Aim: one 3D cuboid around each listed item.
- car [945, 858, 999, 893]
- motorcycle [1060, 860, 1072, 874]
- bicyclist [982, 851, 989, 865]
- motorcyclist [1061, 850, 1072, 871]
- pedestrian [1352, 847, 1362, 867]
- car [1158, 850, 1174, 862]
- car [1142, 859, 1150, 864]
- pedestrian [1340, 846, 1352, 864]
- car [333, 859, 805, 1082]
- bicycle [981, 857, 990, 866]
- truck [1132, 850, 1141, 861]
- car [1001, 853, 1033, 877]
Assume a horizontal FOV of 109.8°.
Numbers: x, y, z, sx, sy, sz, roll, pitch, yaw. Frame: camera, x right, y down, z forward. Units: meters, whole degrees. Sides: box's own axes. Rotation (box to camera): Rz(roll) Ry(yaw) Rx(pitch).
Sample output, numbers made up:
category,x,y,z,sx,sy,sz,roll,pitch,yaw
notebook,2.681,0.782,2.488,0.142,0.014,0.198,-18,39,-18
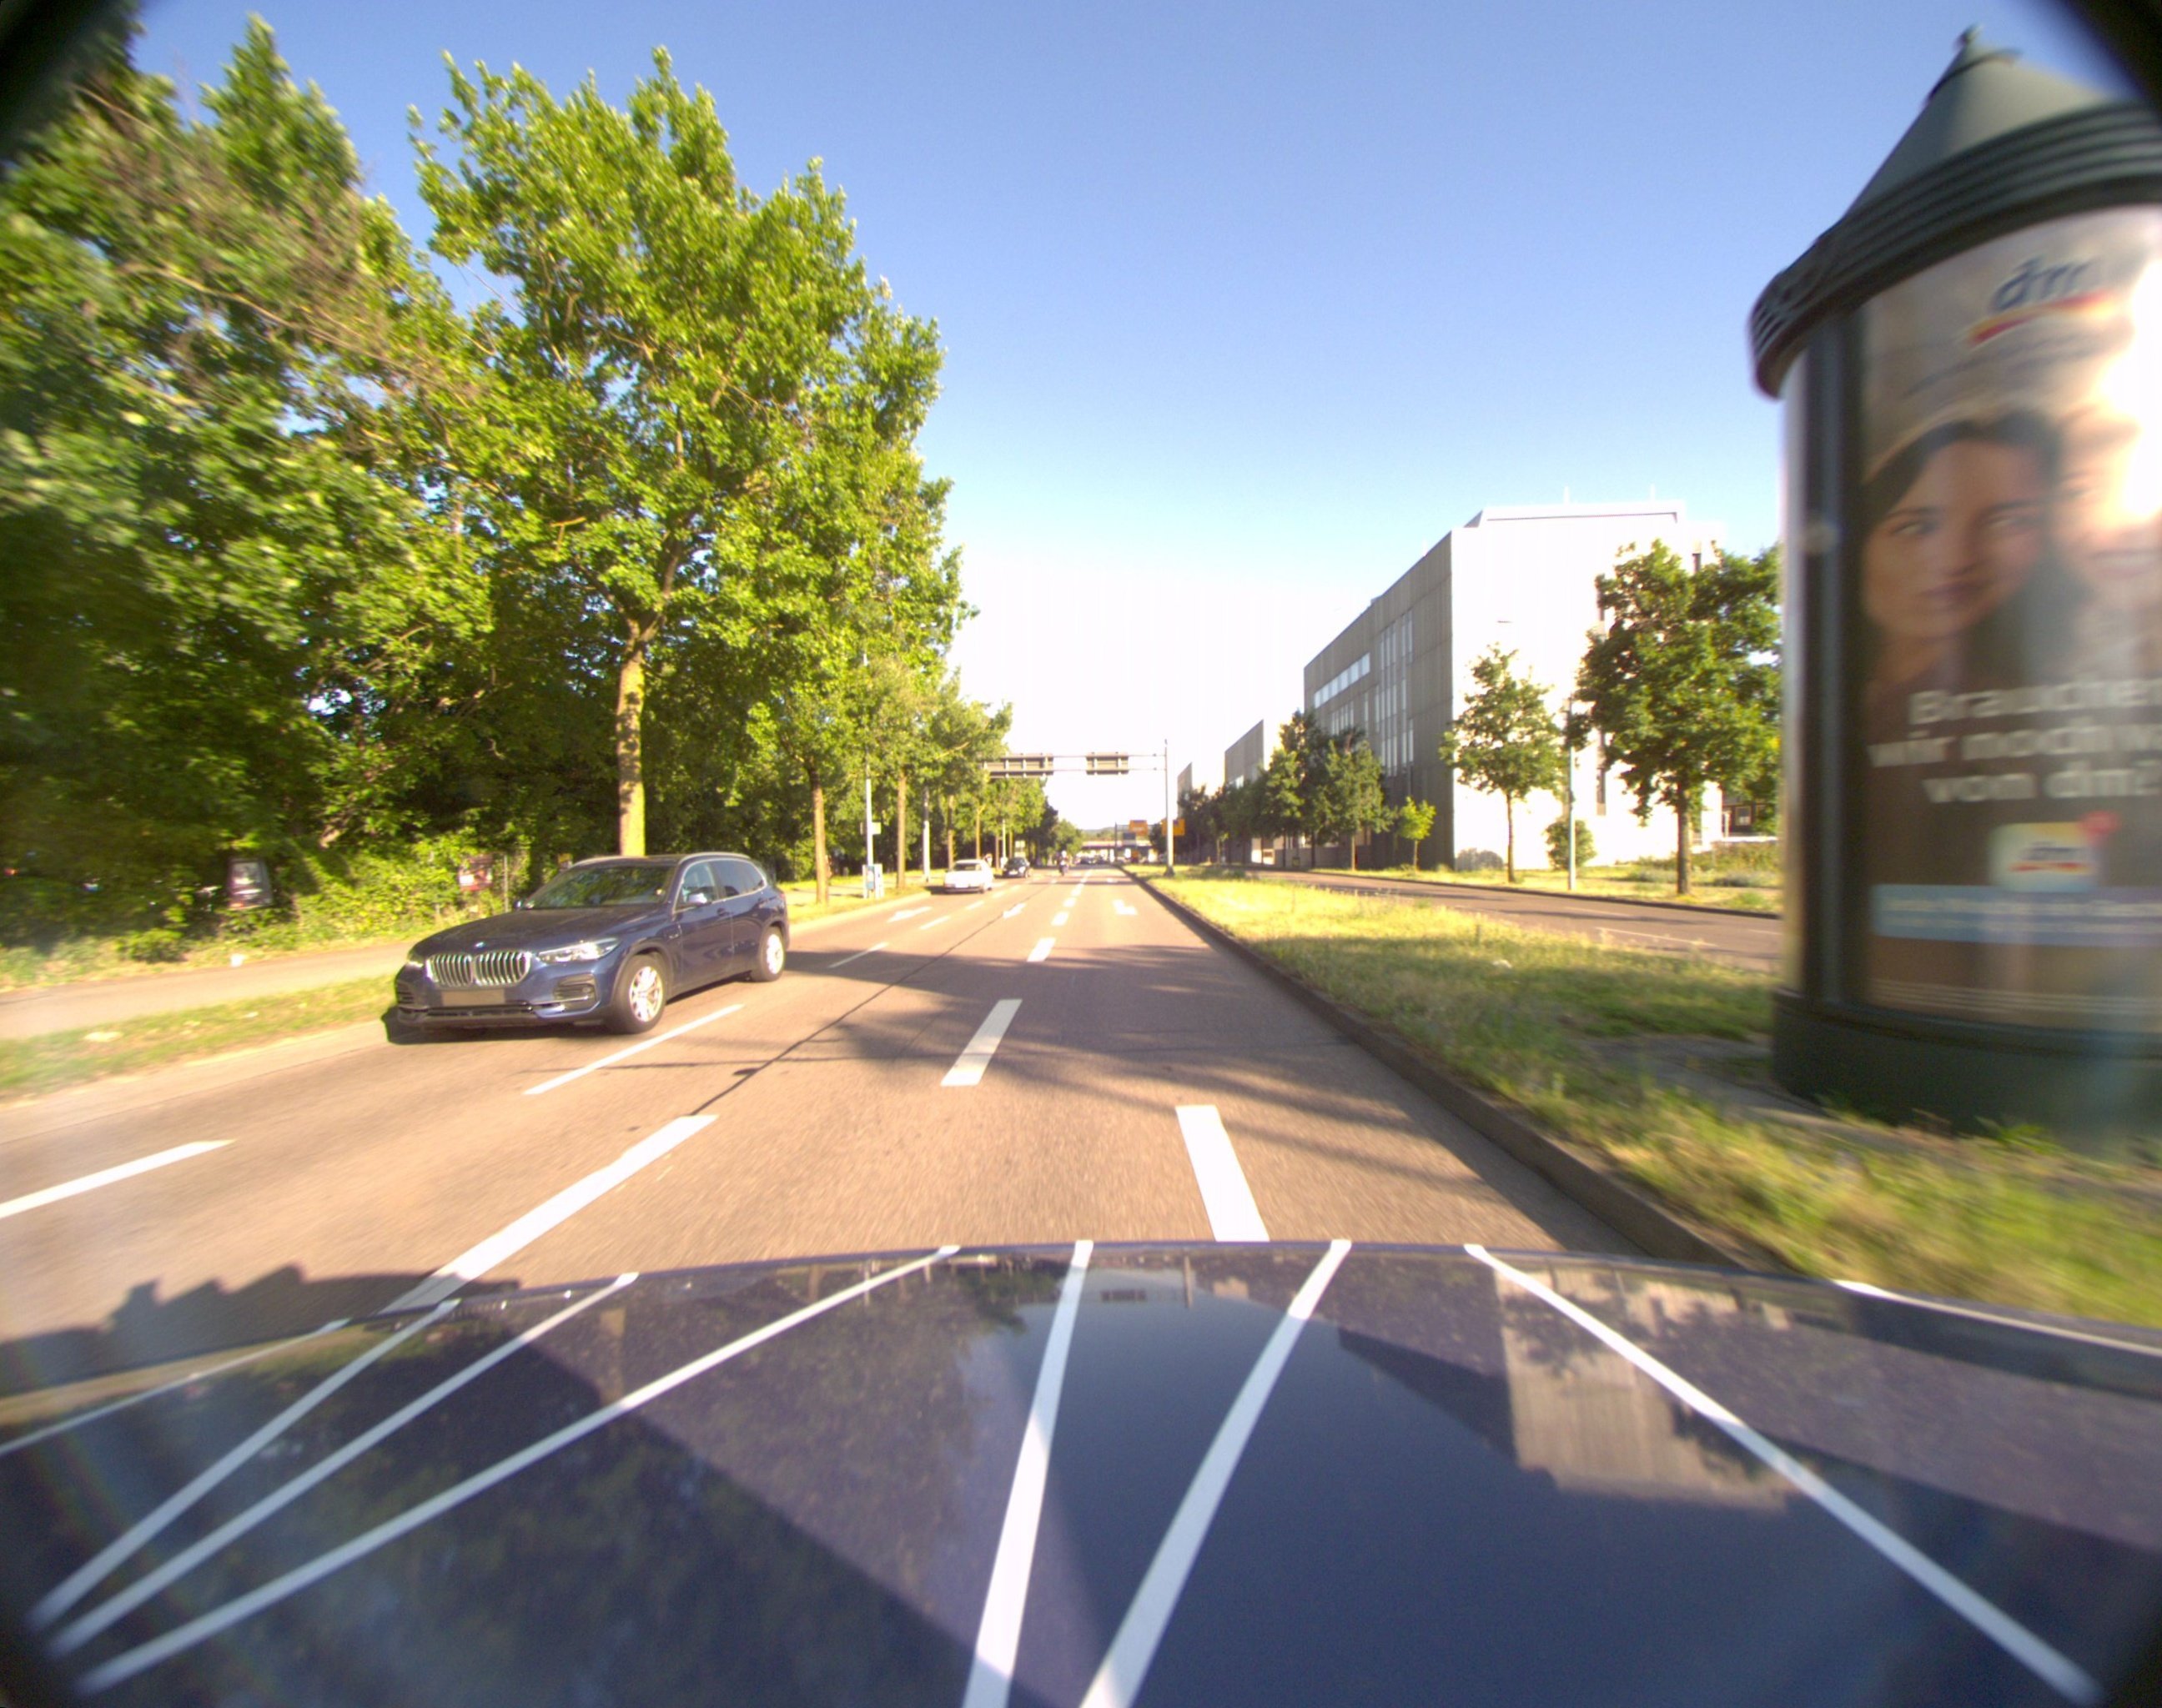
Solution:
category,x,y,z,sx,sy,sz,roll,pitch,yaw
car,-4.658,0.904,32.901,1.615,1.390,4.039,-2,-1,1
motorcycle,-1.048,0.916,53.747,0.749,0.977,2.140,-1,0,1
bicyclist,-10.146,0.413,80.840,0.614,1.493,0.848,-1,0,3
motorcyclist,-1.044,0.456,53.991,0.734,1.503,0.919,-1,1,0
pedestrian,24.719,0.283,68.059,0.634,1.830,0.716,-1,0,3
car,10.906,0.236,97.527,1.566,1.565,3.412,-1,0,-1
car,20.600,2.372,241.301,1.601,1.504,3.865,-1,0,-7
pedestrian,23.964,0.103,68.741,0.778,1.592,0.909,-1,0,3
car,-5.102,0.993,8.642,1.959,1.717,4.699,-2,1,3
bicycle,-10.145,0.793,80.713,0.618,0.968,1.822,-1,0,4
truck,19.091,0.571,261.633,3.005,3.789,10.091,-1,0,2
car,-4.335,0.747,51.986,1.726,1.490,4.214,-2,0,1
